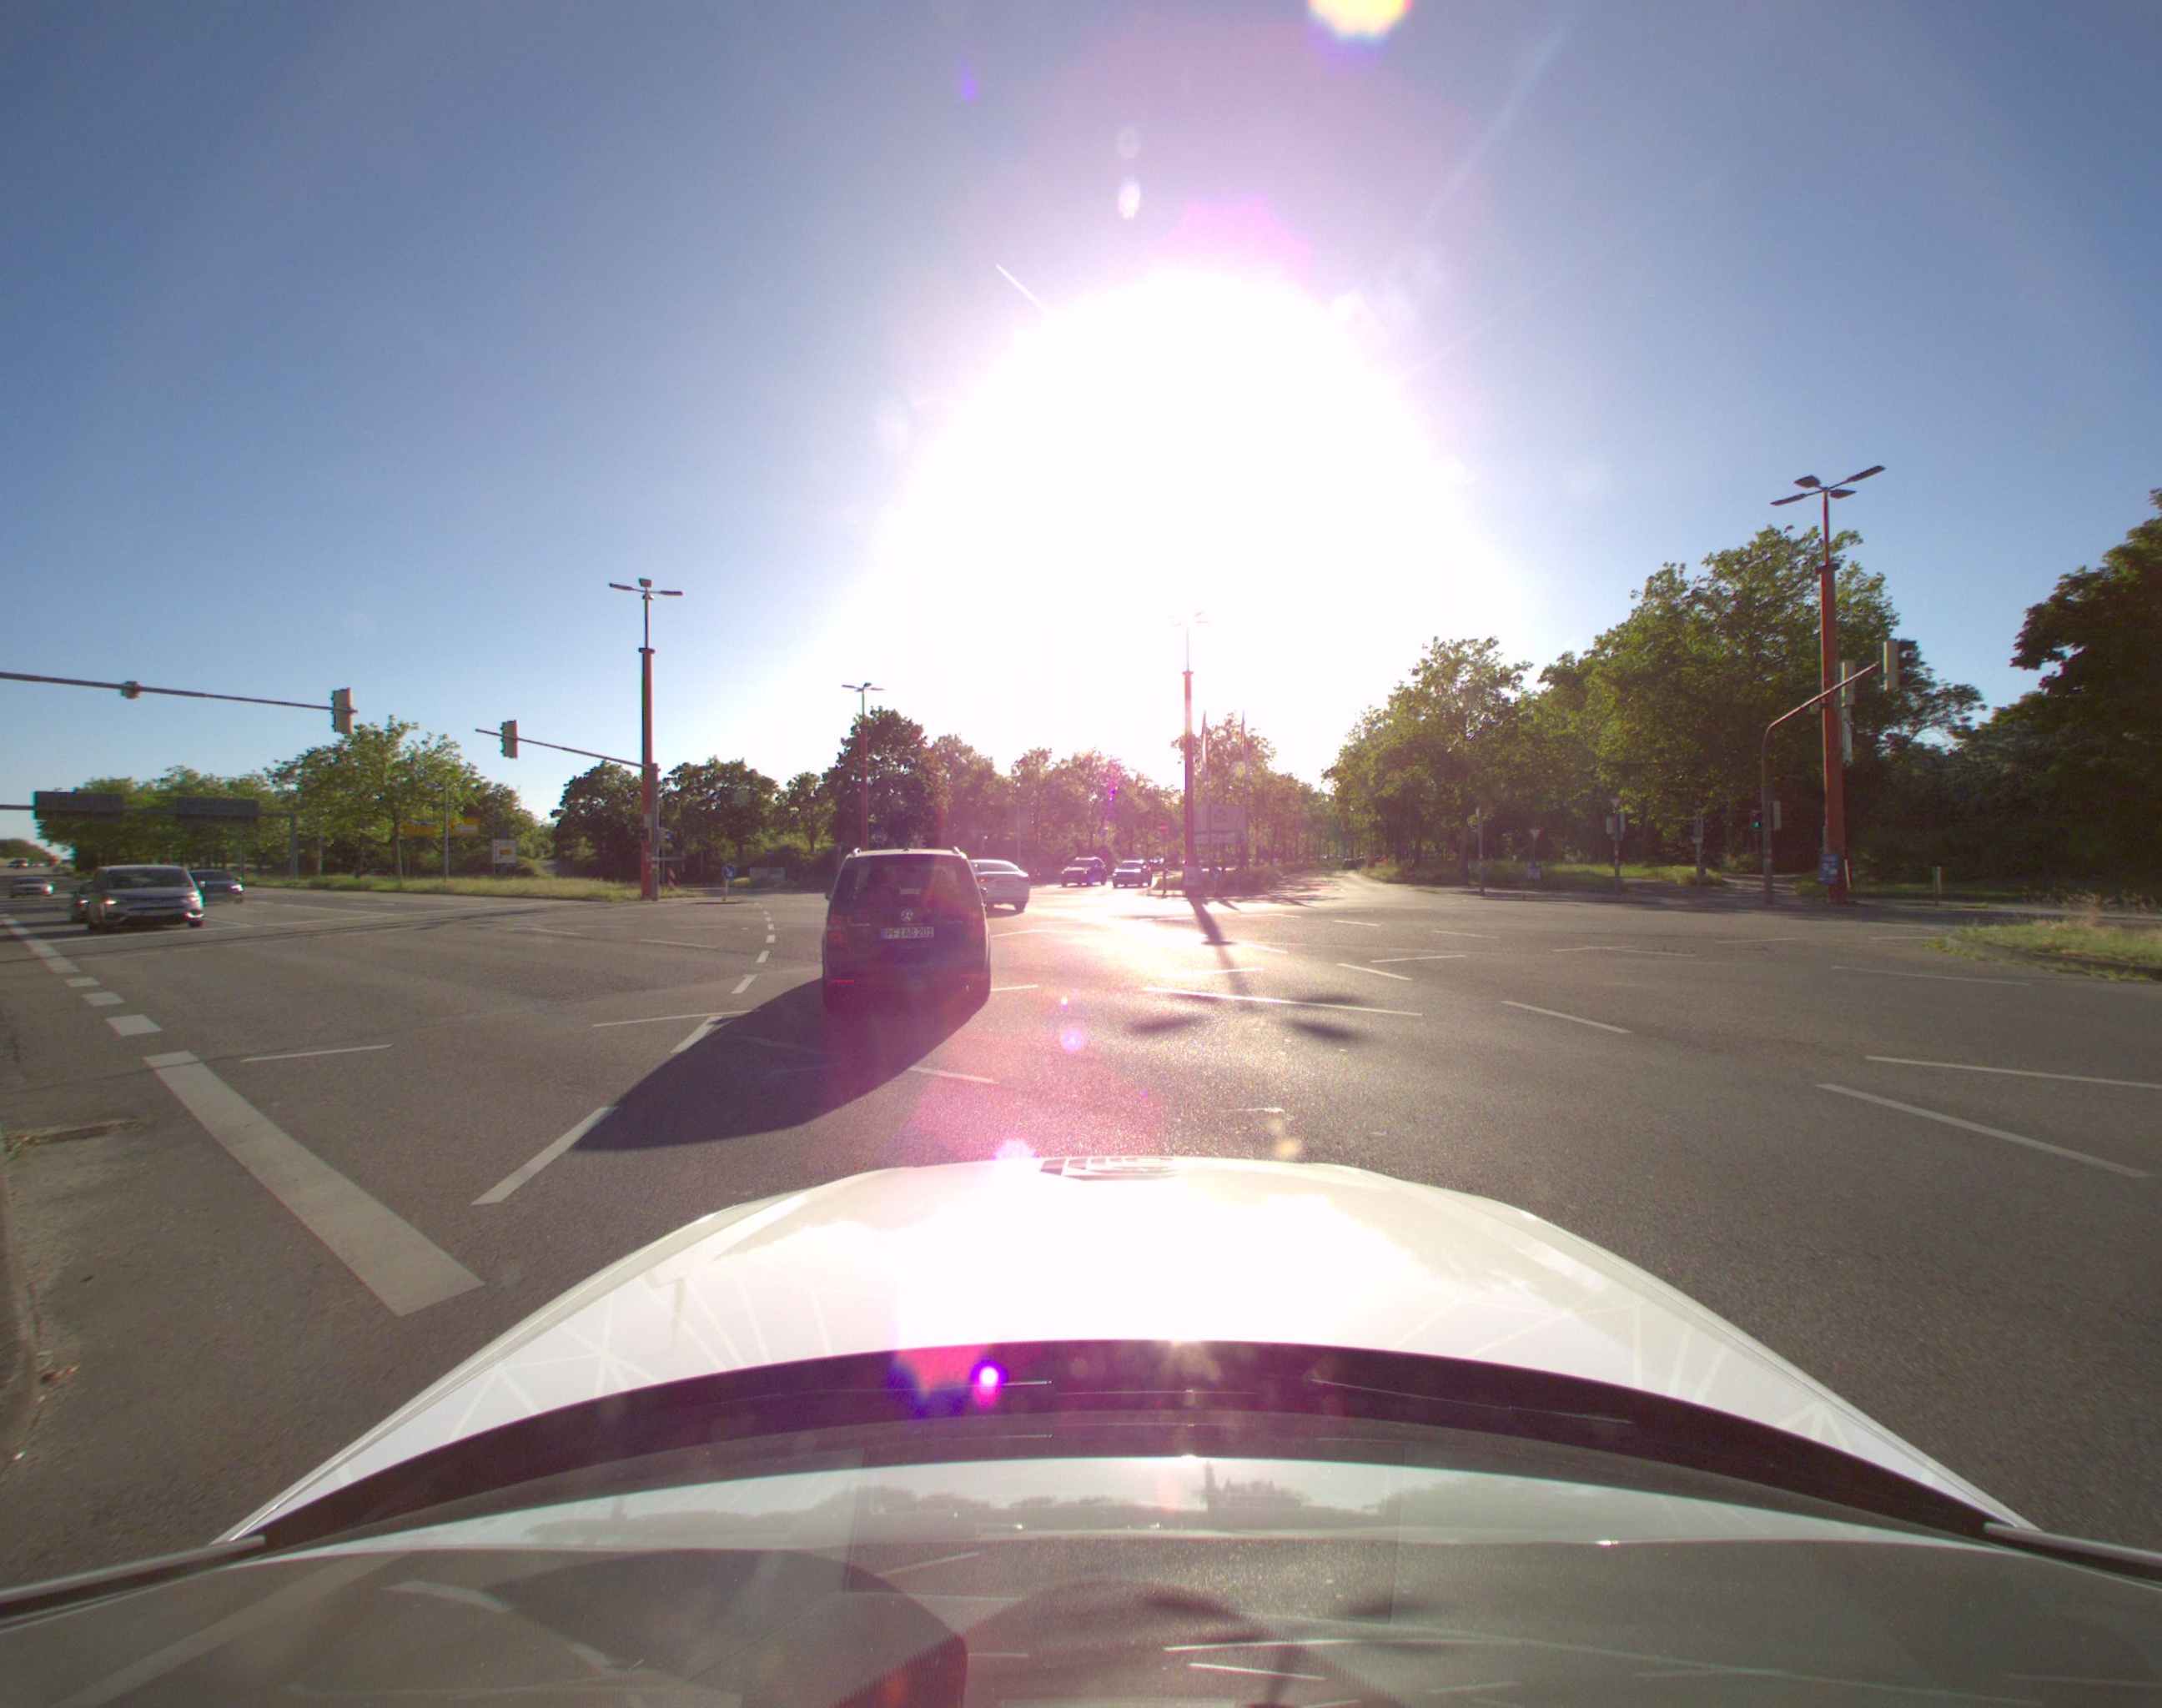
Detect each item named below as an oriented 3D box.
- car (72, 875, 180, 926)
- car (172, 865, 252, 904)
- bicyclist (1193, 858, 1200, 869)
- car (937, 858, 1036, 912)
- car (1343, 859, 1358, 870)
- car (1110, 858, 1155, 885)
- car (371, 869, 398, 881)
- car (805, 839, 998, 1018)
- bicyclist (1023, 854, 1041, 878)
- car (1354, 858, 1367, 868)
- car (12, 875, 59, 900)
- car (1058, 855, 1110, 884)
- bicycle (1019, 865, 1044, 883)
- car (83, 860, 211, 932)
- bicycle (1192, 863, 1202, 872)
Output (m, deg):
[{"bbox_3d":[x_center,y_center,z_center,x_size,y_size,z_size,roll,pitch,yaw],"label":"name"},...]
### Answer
[{"bbox_3d":[-31.767,1.485,27.050,4.506,1.474,1.917,-1,1,36],"label":"car"},{"bbox_3d":[-40.203,1.380,37.641,4.506,1.610,1.917,-1,1,36],"label":"car"},{"bbox_3d":[14.818,1.229,104.372,0.728,1.436,0.971,-1,-1,22],"label":"bicyclist"},{"bbox_3d":[-2.939,0.854,24.391,1.775,1.464,4.332,0,0,-24],"label":"car"},{"bbox_3d":[35.924,1.387,108.676,1.776,1.388,4.067,0,0,17],"label":"car"},{"bbox_3d":[3.155,1.033,49.182,1.753,1.538,4.110,-1,0,18],"label":"car"},{"bbox_3d":[-91.110,2.696,106.535,4.309,1.464,1.784,-1,0,38],"label":"car"},{"bbox_3d":[-2.004,0.698,10.111,1.766,1.644,4.910,0,0,-8],"label":"car"},{"bbox_3d":[-3.196,0.778,53.127,0.752,1.557,0.987,-1,0,25],"label":"bicyclist"},{"bbox_3d":[47.714,1.527,139.001,1.858,1.627,4.017,1,-1,16],"label":"car"},{"bbox_3d":[-74.993,2.381,58.472,4.507,1.610,1.917,-1,1,39],"label":"car"},{"bbox_3d":[0.267,0.957,51.917,1.887,1.726,4.675,-1,0,19],"label":"car"},{"bbox_3d":[-3.219,1.300,53.052,0.757,1.091,2.027,-1,0,26],"label":"bicycle"},{"bbox_3d":[-26.272,1.120,22.869,4.389,1.775,1.917,-1,1,36],"label":"car"},{"bbox_3d":[14.838,1.693,104.393,0.728,1.091,2.026,-1,0,22],"label":"bicycle"}]
